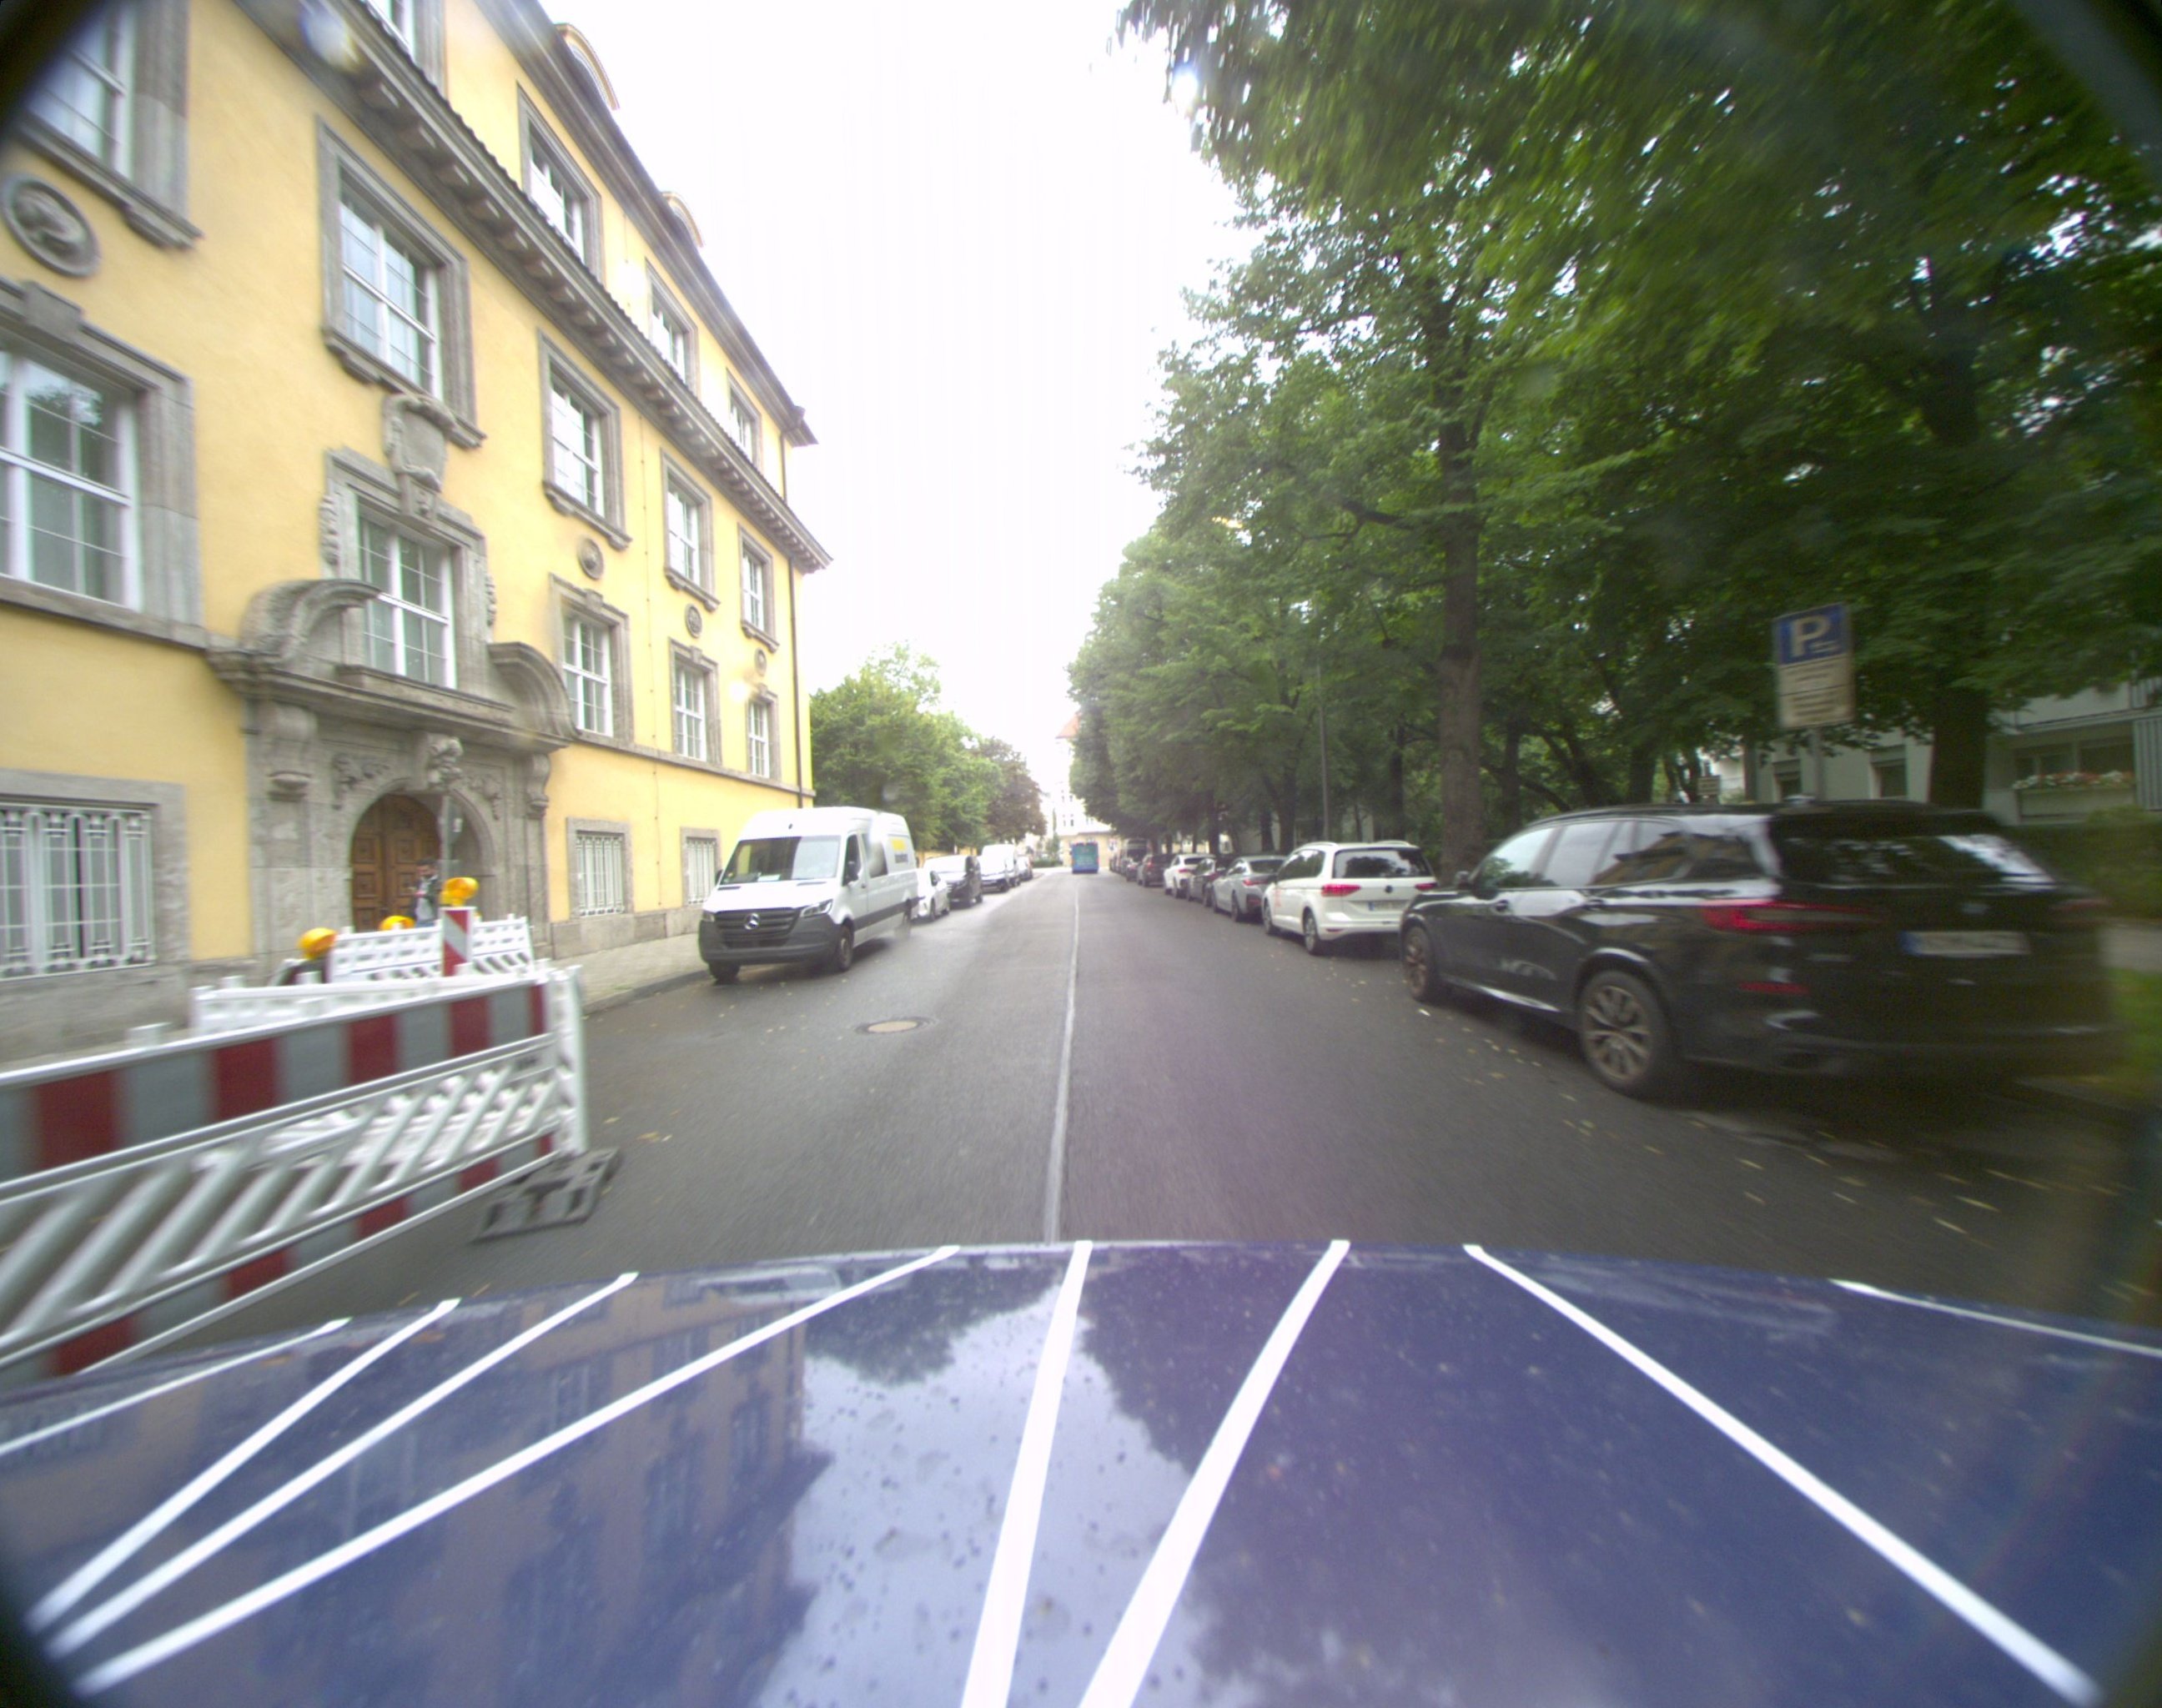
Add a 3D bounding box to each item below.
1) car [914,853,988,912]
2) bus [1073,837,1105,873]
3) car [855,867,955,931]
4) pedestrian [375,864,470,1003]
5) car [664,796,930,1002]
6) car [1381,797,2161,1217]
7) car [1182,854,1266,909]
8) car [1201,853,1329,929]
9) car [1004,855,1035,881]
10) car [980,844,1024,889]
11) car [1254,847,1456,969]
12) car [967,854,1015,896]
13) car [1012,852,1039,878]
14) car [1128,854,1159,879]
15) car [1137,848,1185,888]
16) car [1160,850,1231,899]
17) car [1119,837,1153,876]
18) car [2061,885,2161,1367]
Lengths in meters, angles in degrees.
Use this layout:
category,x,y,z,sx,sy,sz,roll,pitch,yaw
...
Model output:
category,x,y,z,sx,sy,sz,roll,pitch,yaw
car,-4.613,0.946,27.675,1.876,1.858,4.985,-2,1,-1
bus,0.678,-0.098,80.263,2.867,3.221,18.420,-2,1,-1
car,-4.863,1.188,21.632,1.876,1.449,4.254,-2,1,-1
pedestrian,-8.856,1.045,10.245,0.702,1.794,0.582,-1,2,0
car,-4.513,0.568,13.880,2.060,2.657,7.612,-2,1,-1
car,4.182,0.642,5.719,1.998,1.786,4.920,-1,0,1
car,4.316,0.769,23.546,1.676,1.461,4.103,-2,1,-1
car,4.208,0.768,18.230,1.814,1.461,4.996,-2,1,0
car,-4.556,0.985,56.895,1.863,1.731,4.602,-4,0,0
car,-4.719,0.666,46.414,2.101,2.473,5.738,-2,1,-1
car,4.150,0.701,12.341,1.769,1.612,4.522,0,1,2
car,-4.556,0.991,39.130,2.019,1.895,5.162,-4,0,-3
car,-4.515,0.887,62.822,1.864,1.956,5.443,-2,0,-1
car,3.874,0.735,47.730,1.794,1.429,4.552,-2,0,3
car,3.953,0.660,38.161,1.789,1.866,4.547,-1,0,-1
car,4.171,0.702,28.378,1.789,1.588,4.583,-2,1,-1
car,4.236,0.155,59.782,1.950,2.838,6.234,-2,1,-2
car,4.051,0.815,0.143,1.723,1.442,4.695,-3,0,1
